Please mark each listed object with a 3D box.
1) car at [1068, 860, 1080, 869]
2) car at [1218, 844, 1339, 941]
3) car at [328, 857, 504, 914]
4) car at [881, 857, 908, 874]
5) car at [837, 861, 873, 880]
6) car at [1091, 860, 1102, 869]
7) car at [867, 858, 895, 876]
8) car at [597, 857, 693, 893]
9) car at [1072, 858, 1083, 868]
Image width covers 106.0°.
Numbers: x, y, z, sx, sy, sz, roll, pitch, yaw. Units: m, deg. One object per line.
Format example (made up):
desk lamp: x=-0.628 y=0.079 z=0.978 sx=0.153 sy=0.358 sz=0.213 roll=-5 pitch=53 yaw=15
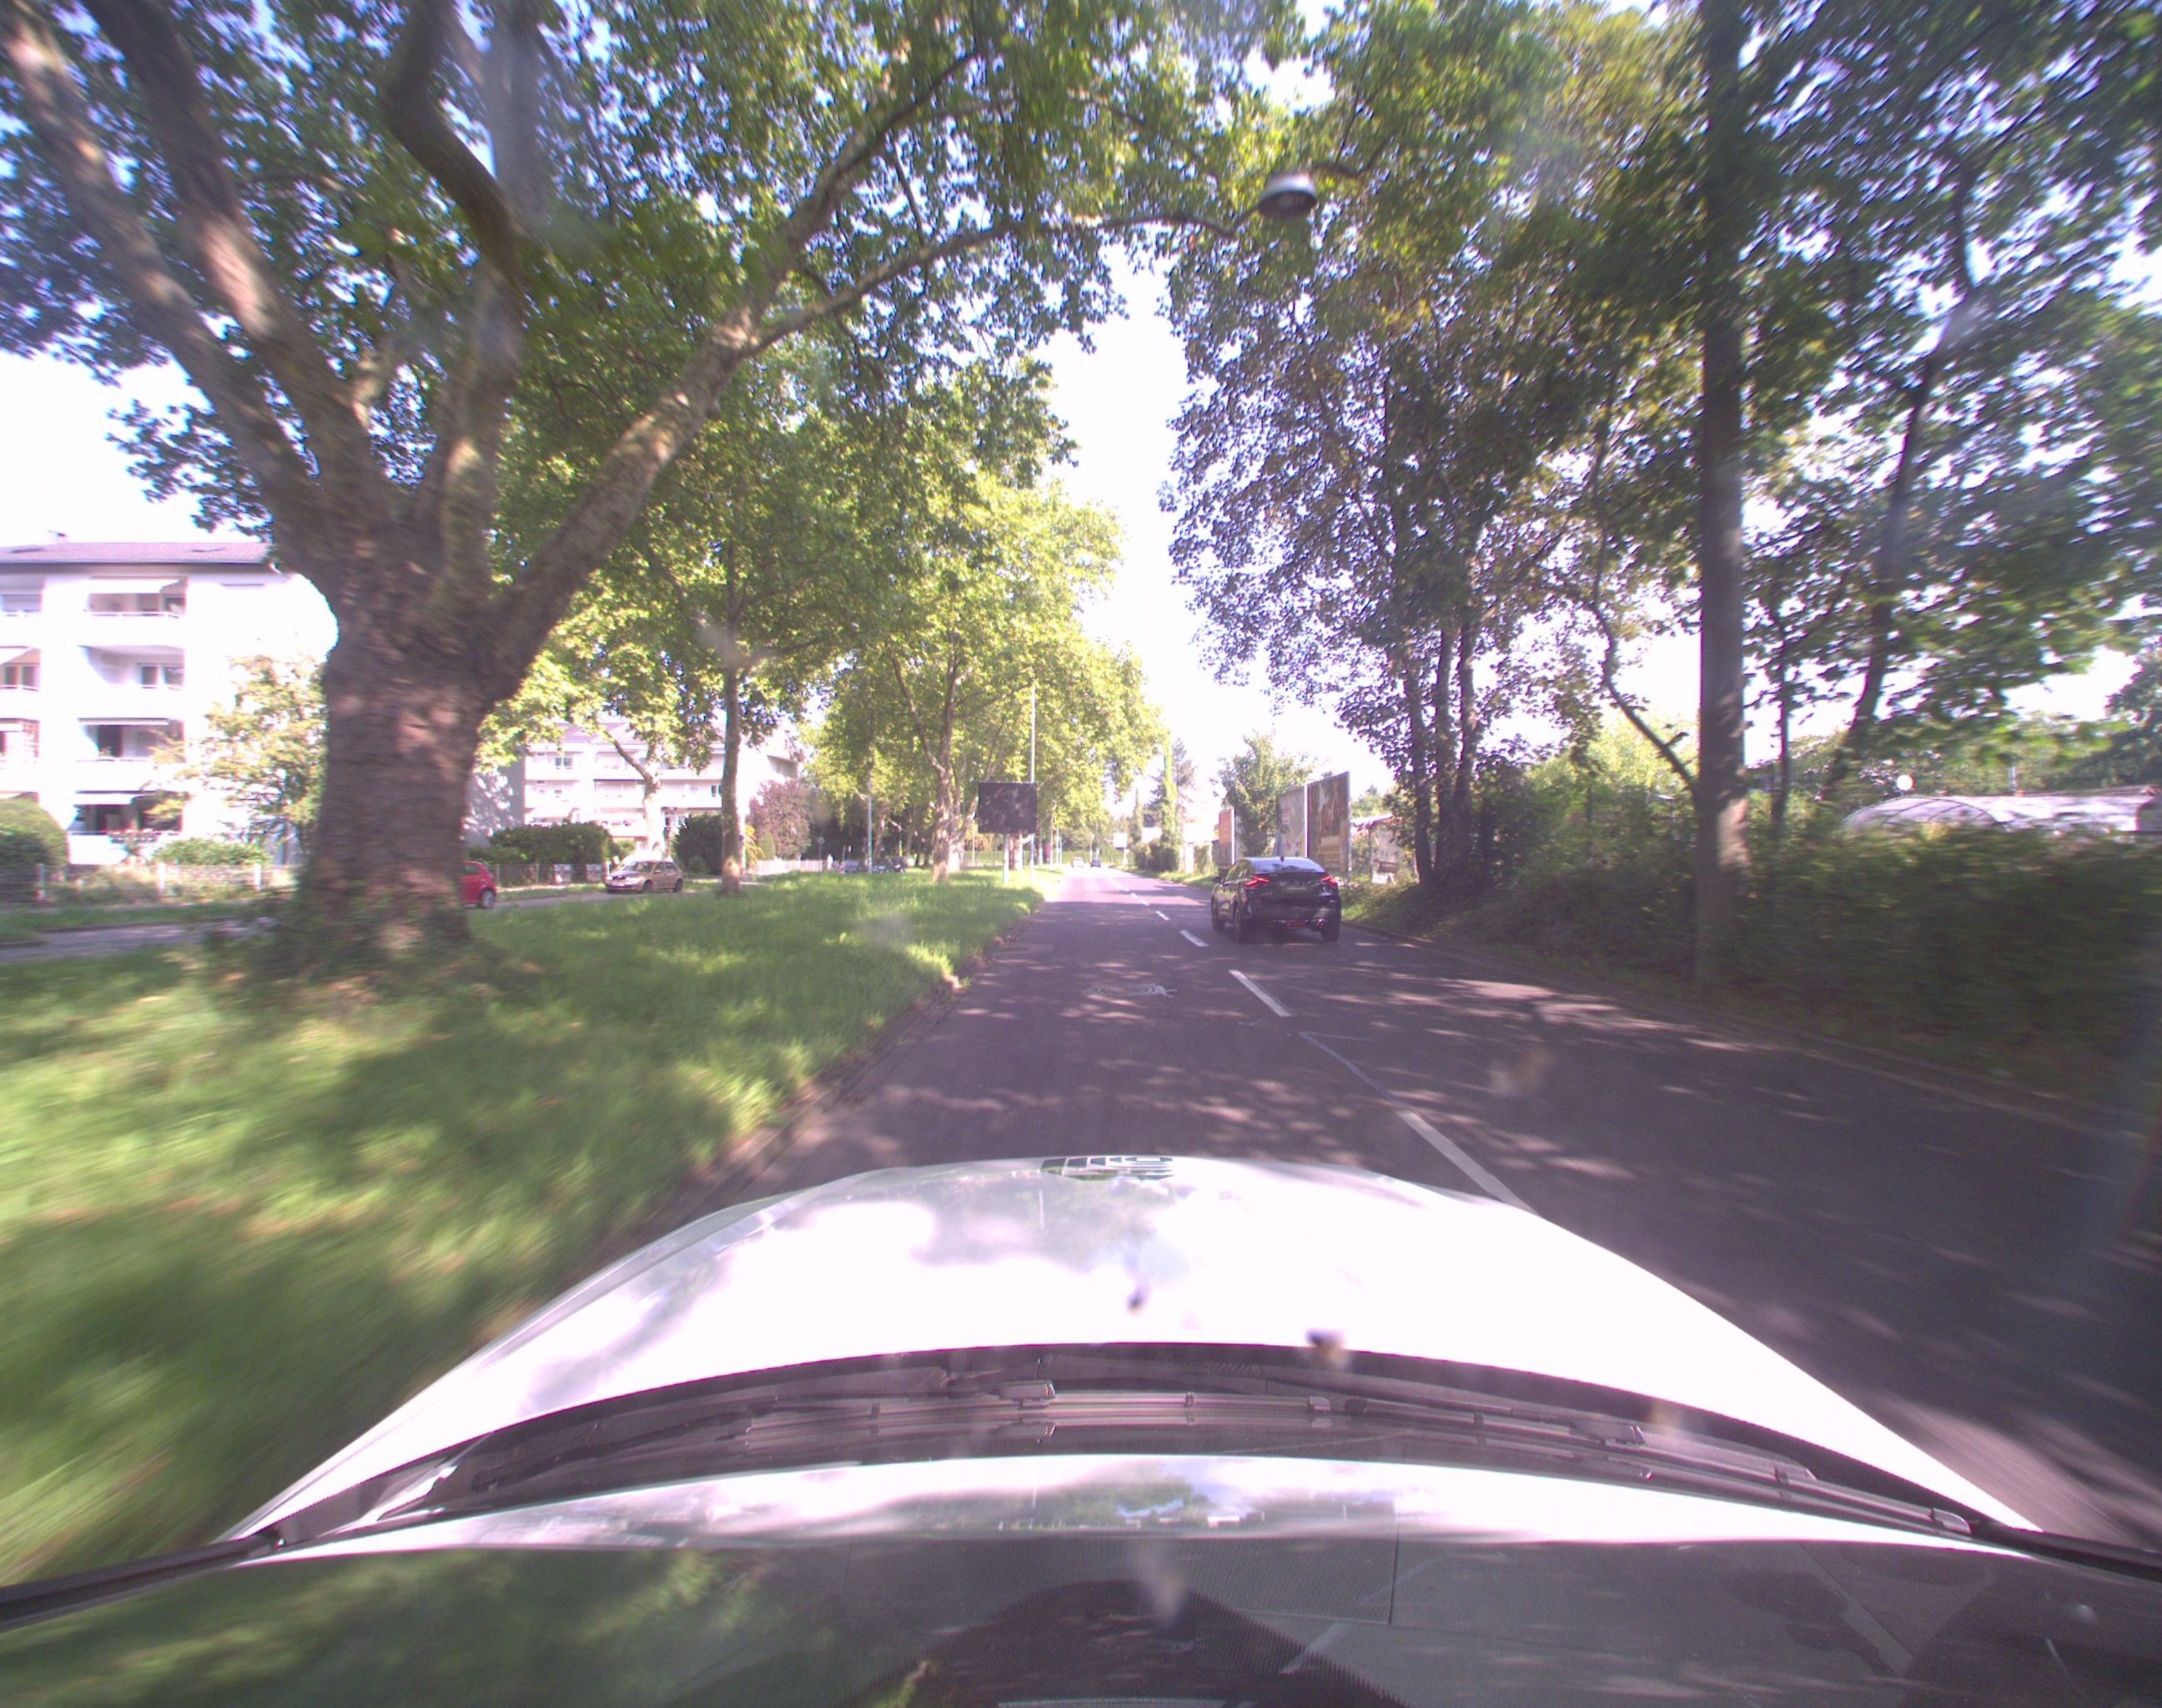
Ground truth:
car: x=-1.183 y=1.731 z=137.731 sx=1.680 sy=1.462 sz=3.853 roll=0 pitch=-1 yaw=4
car: x=3.614 y=0.666 z=15.582 sx=1.637 sy=1.588 sz=4.261 roll=-1 pitch=-1 yaw=5
car: x=-18.591 y=0.833 z=23.043 sx=1.533 sy=1.452 sz=4.065 roll=0 pitch=-1 yaw=1
car: x=-19.191 y=1.198 z=83.854 sx=1.694 sy=1.732 sz=4.658 roll=0 pitch=-1 yaw=0
car: x=-18.550 y=1.344 z=67.136 sx=1.694 sy=1.508 sz=4.540 roll=0 pitch=-1 yaw=0
car: x=2.648 y=1.807 z=138.632 sx=1.792 sy=1.401 sz=3.998 roll=0 pitch=-1 yaw=-1
car: x=-18.613 y=1.189 z=75.931 sx=1.694 sy=1.568 sz=3.999 roll=0 pitch=-1 yaw=0
car: x=-18.567 y=0.875 z=34.909 sx=1.795 sy=1.430 sz=4.065 roll=1 pitch=0 yaw=1
car: x=-0.530 y=1.423 z=129.869 sx=1.682 sy=1.462 sz=4.000 roll=0 pitch=-1 yaw=0
